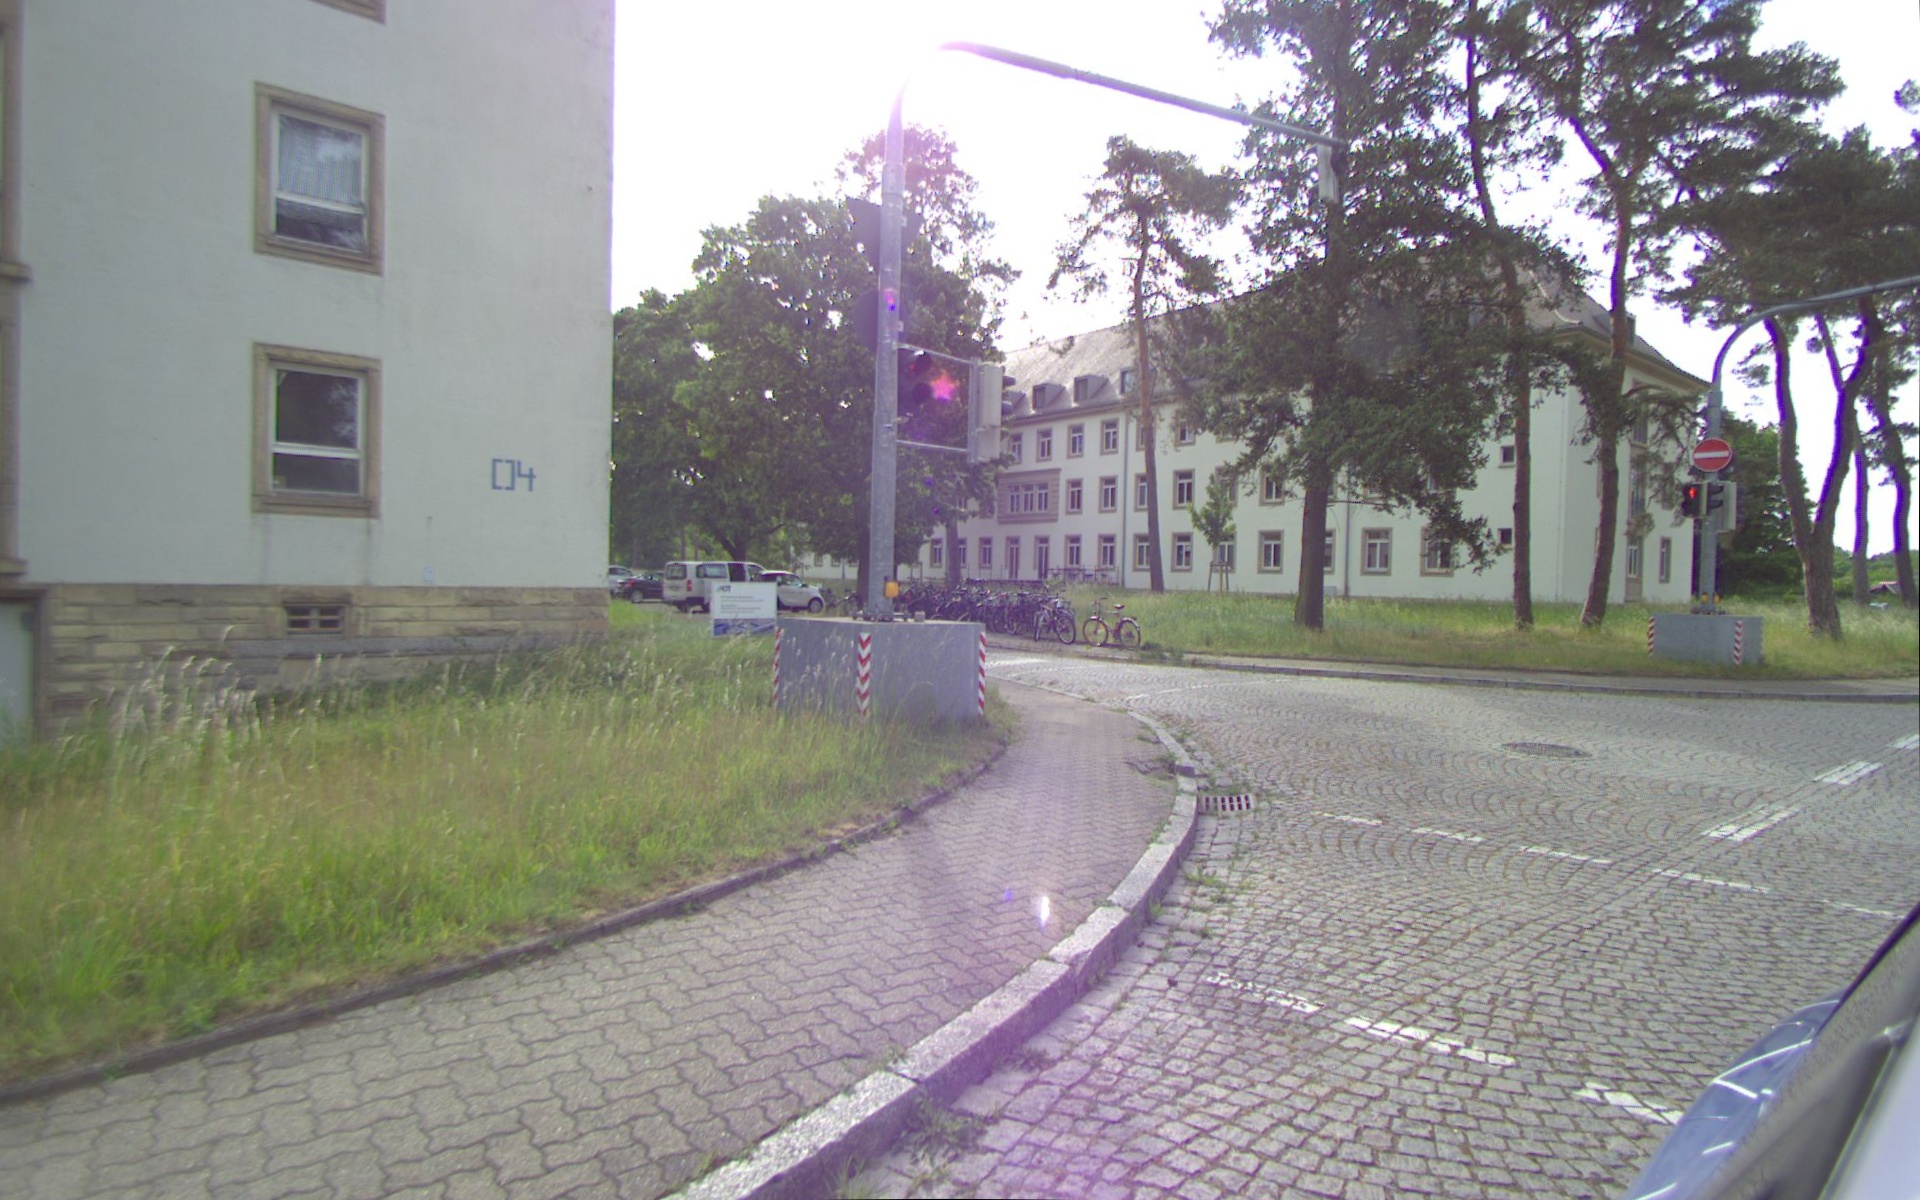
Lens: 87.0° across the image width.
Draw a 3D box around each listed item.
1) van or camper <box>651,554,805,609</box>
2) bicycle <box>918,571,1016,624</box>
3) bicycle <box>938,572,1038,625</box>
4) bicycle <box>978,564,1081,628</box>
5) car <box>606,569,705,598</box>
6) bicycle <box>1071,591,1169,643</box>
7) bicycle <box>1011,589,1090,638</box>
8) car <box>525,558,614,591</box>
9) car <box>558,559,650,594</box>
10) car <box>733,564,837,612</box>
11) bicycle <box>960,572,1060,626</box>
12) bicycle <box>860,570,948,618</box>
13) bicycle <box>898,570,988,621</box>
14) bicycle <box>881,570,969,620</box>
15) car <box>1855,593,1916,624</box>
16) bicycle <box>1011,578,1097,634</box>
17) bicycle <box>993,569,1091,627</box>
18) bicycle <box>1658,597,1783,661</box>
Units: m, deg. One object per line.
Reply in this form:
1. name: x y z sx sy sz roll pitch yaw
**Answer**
1. van or camper: -8.887 -0.717 39.303 2.227 1.981 5.679 2 2 39
2. bicycle: 0.225 -0.075 28.354 2.761 1.389 0.950 0 1 -39
3. bicycle: 0.797 -0.050 27.668 2.761 1.389 0.950 0 1 -39
4. bicycle: 1.853 -0.102 26.635 2.761 1.603 0.950 0 1 -39
5. car: -13.783 -0.749 45.906 3.930 1.214 1.701 0 2 -41
6. bicycle: 3.409 0.348 21.681 0.887 1.009 1.977 0 2 -39
7. bicycle: 2.064 0.290 23.282 0.715 1.009 1.980 1 1 -34
8. car: -20.066 -1.283 52.089 3.930 1.620 1.701 0 2 -41
9. car: -17.580 -1.159 50.059 3.930 1.620 1.701 0 2 -41
10. car: -6.415 -0.436 37.110 3.177 1.641 1.936 2 0 -39
11. bicycle: 1.378 -0.028 27.448 2.761 1.389 0.950 0 1 -39
12. bicycle: -1.648 -0.182 30.235 2.530 1.389 0.950 0 1 -40
13. bicycle: -0.480 -0.133 29.022 2.530 1.389 0.950 0 1 -40
14. bicycle: -1.007 -0.156 29.675 2.530 1.389 0.950 0 1 -40
15. car: 49.771 0.437 54.415 3.626 1.552 1.773 0 2 -37
16. bicycle: 2.345 0.133 25.142 2.081 1.322 0.874 0 1 -39
17. bicycle: 2.120 -0.057 25.738 2.580 1.384 0.874 0 1 -39
18. bicycle: 14.546 0.537 19.401 0.635 1.075 1.831 -4 5 -41
